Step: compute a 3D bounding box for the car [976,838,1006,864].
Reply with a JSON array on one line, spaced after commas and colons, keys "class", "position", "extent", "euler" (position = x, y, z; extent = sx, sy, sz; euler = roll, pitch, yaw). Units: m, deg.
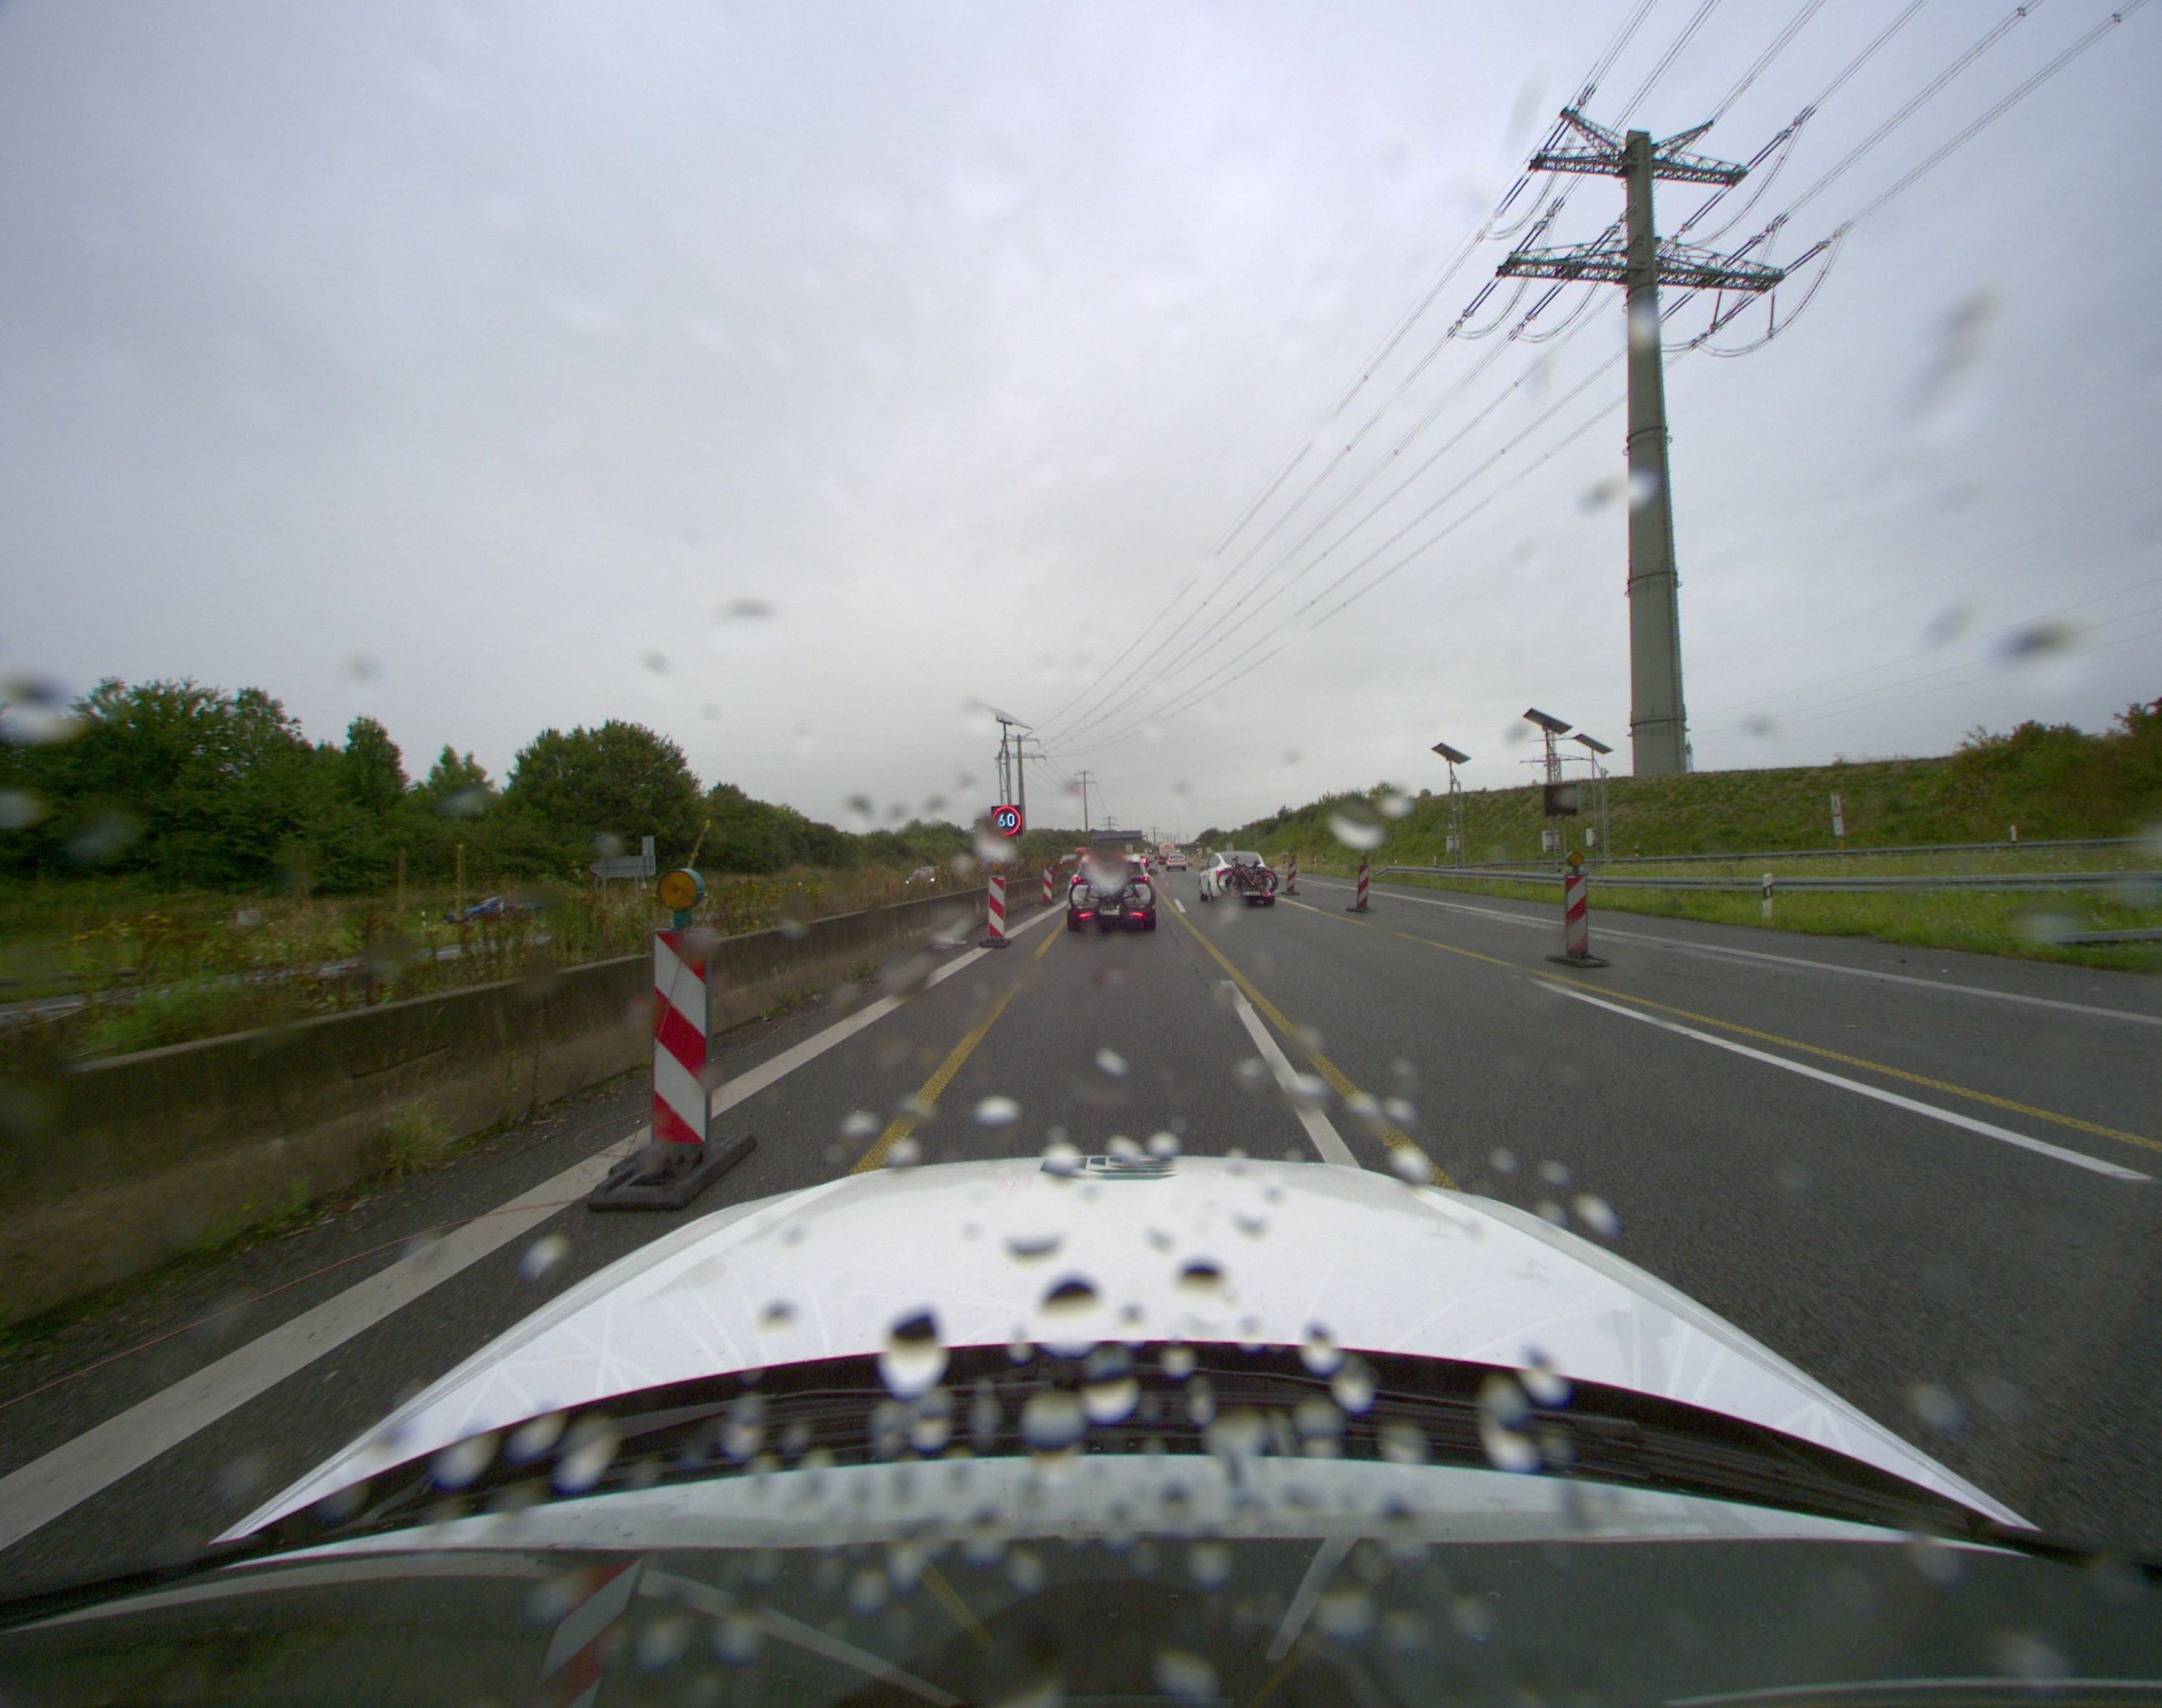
[{"class": "car", "position": [-9.314, -0.302, 84.956], "extent": [2.041, 2.609, 5.852], "euler": [0, -1, 4]}]

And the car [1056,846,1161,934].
[{"class": "car", "position": [0.674, 0.672, 17.461], "extent": [1.920, 1.611, 4.600], "euler": [-1, 0, 4]}]

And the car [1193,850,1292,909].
[{"class": "car", "position": [4.784, 0.698, 24.964], "extent": [2.038, 1.596, 5.803], "euler": [0, 0, 2]}]

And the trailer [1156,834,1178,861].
[{"class": "trailer", "position": [13.287, -0.937, 126.925], "extent": [2.628, 3.893, 10.546], "euler": [0, -1, 2]}]

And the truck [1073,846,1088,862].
[{"class": "truck", "position": [-0.163, -0.064, 185.766], "extent": [3.011, 3.531, 4.931], "euler": [0, -1, 4]}]

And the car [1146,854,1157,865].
[{"class": "car", "position": [13.870, 1.058, 160.330], "extent": [1.986, 2.014, 4.001], "euler": [0, -1, 2]}]

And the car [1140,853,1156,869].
[{"class": "car", "position": [9.294, 0.939, 113.750], "extent": [1.986, 2.013, 4.003], "euler": [0, 4, 2]}]

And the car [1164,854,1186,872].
[{"class": "car", "position": [8.716, 0.801, 75.812], "extent": [1.861, 1.535, 4.203], "euler": [-1, 0, 5]}]

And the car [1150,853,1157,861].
[{"class": "car", "position": [19.210, 0.767, 215.259], "extent": [1.645, 2.013, 4.006], "euler": [-1, 0, 6]}]

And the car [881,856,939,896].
[{"class": "car", "position": [-9.075, 1.152, 43.613], "extent": [1.985, 2.014, 4.004], "euler": [0, -1, 4]}]

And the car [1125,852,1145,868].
[{"class": "car", "position": [5.699, 0.632, 86.140], "extent": [1.986, 1.584, 4.001], "euler": [-1, 0, 2]}]

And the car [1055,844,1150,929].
[{"class": "car", "position": [0.583, 0.700, 19.600], "extent": [1.985, 1.760, 4.004], "euler": [-3, 0, 3]}]

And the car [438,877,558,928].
[{"class": "car", "position": [-27.923, 2.287, 39.142], "extent": [1.674, 2.110, 4.312], "euler": [-3, 0, 35]}]
